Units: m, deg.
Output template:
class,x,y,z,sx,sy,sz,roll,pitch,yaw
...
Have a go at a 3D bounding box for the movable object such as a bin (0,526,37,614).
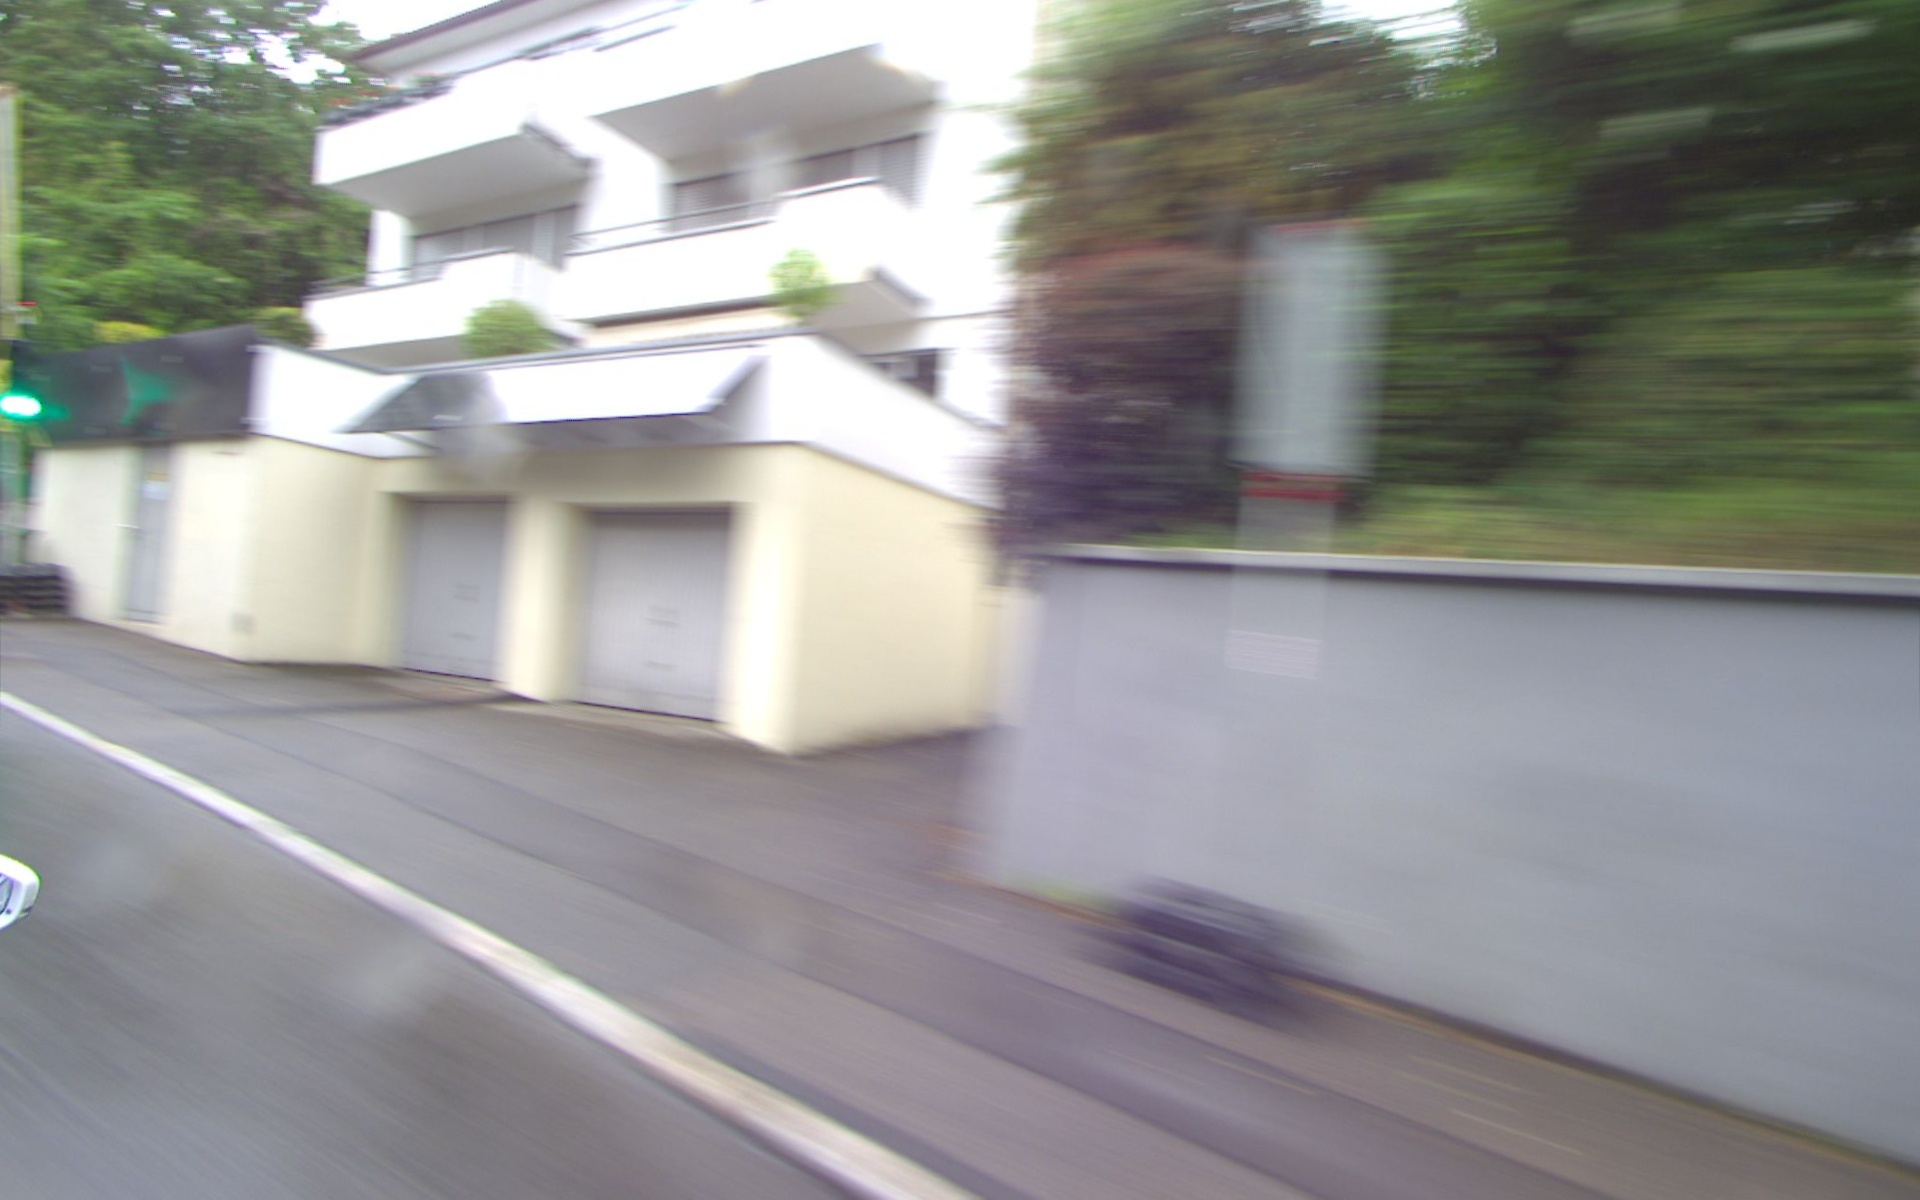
class,x,y,z,sx,sy,sz,roll,pitch,yaw
movable object such as a bin,-12.004,-0.394,12.426,0.583,1.045,0.719,7,1,35
